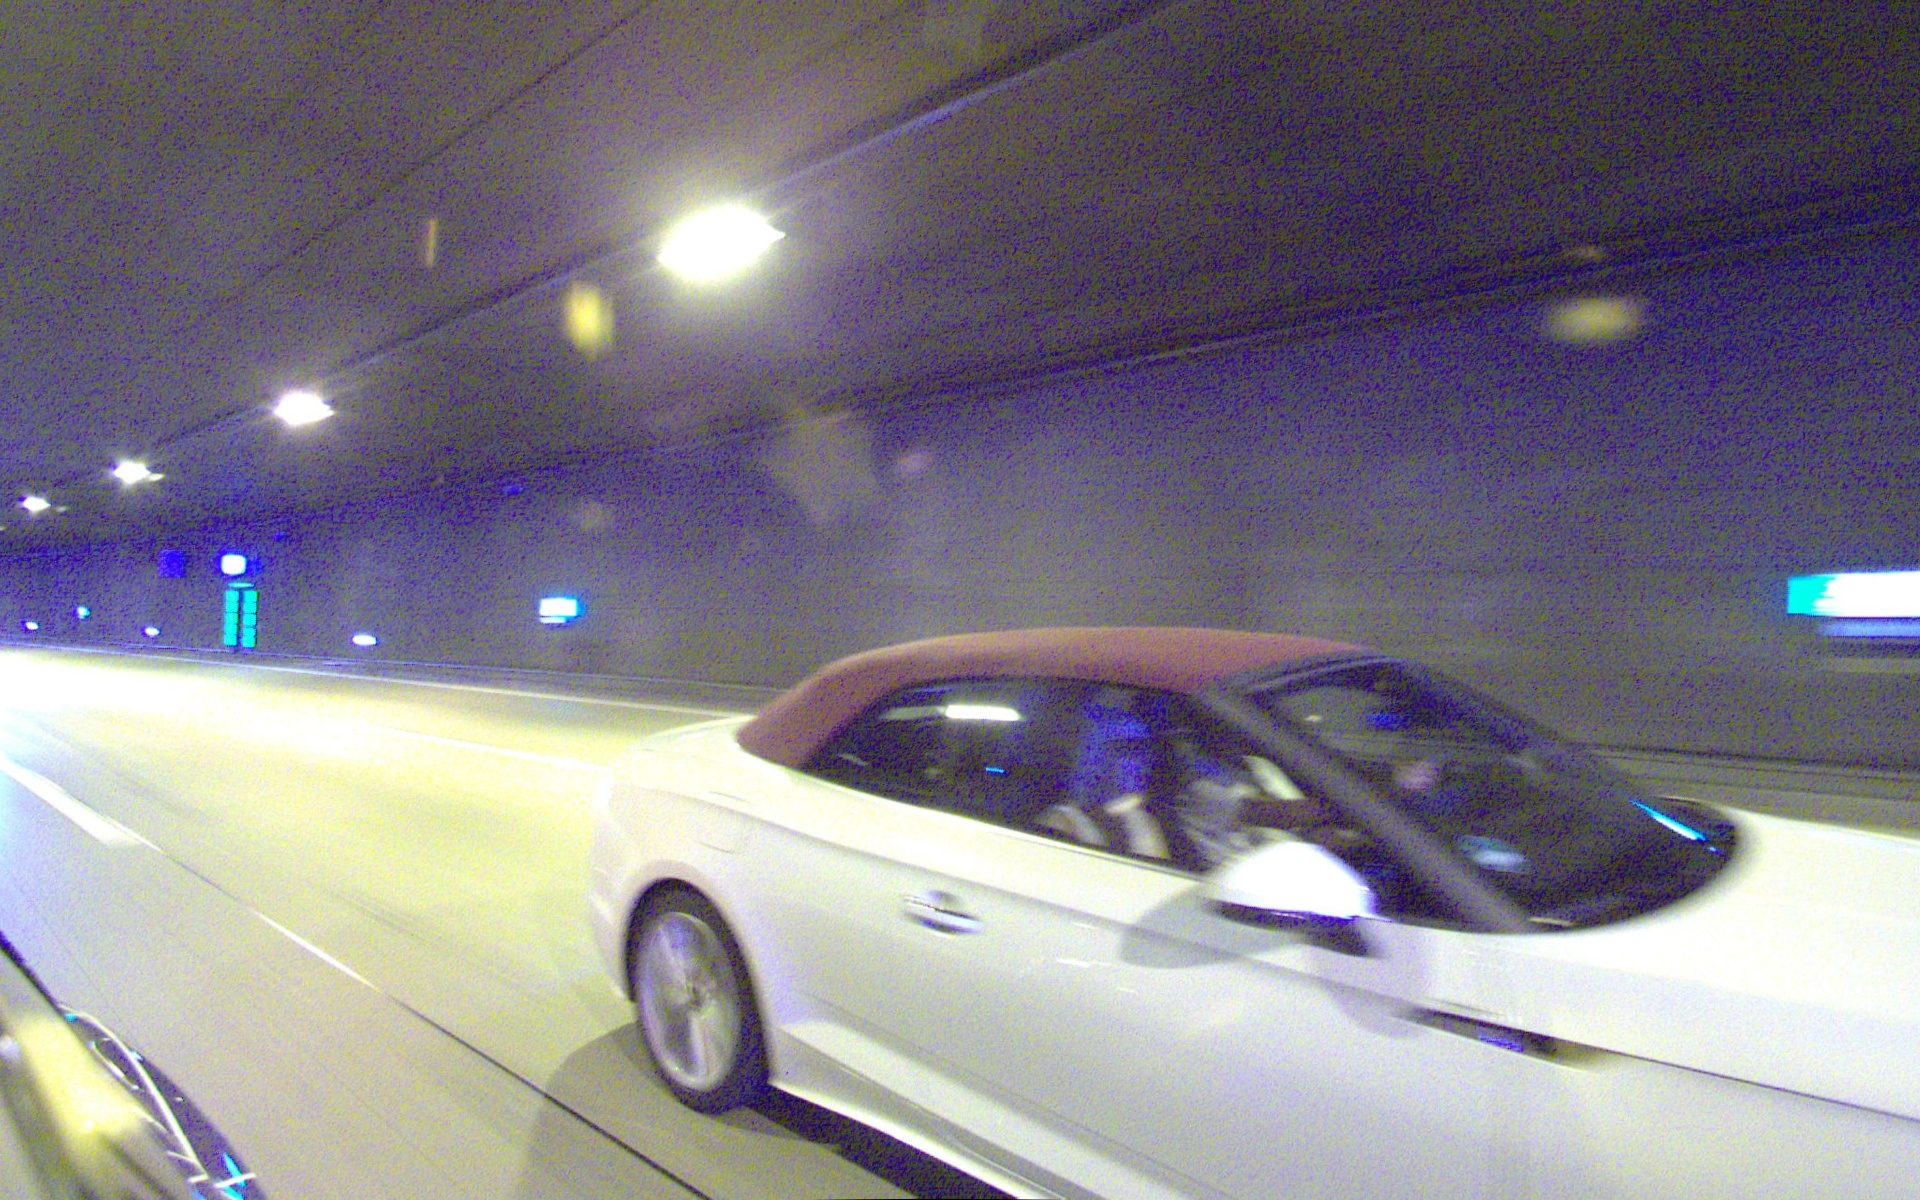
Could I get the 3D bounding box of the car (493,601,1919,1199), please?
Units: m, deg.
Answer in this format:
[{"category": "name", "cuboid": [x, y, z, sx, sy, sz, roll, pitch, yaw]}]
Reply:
[{"category": "car", "cuboid": [0.848, 0.725, 2.500, 5.056, 1.429, 1.685, -1, -1, 40]}]
